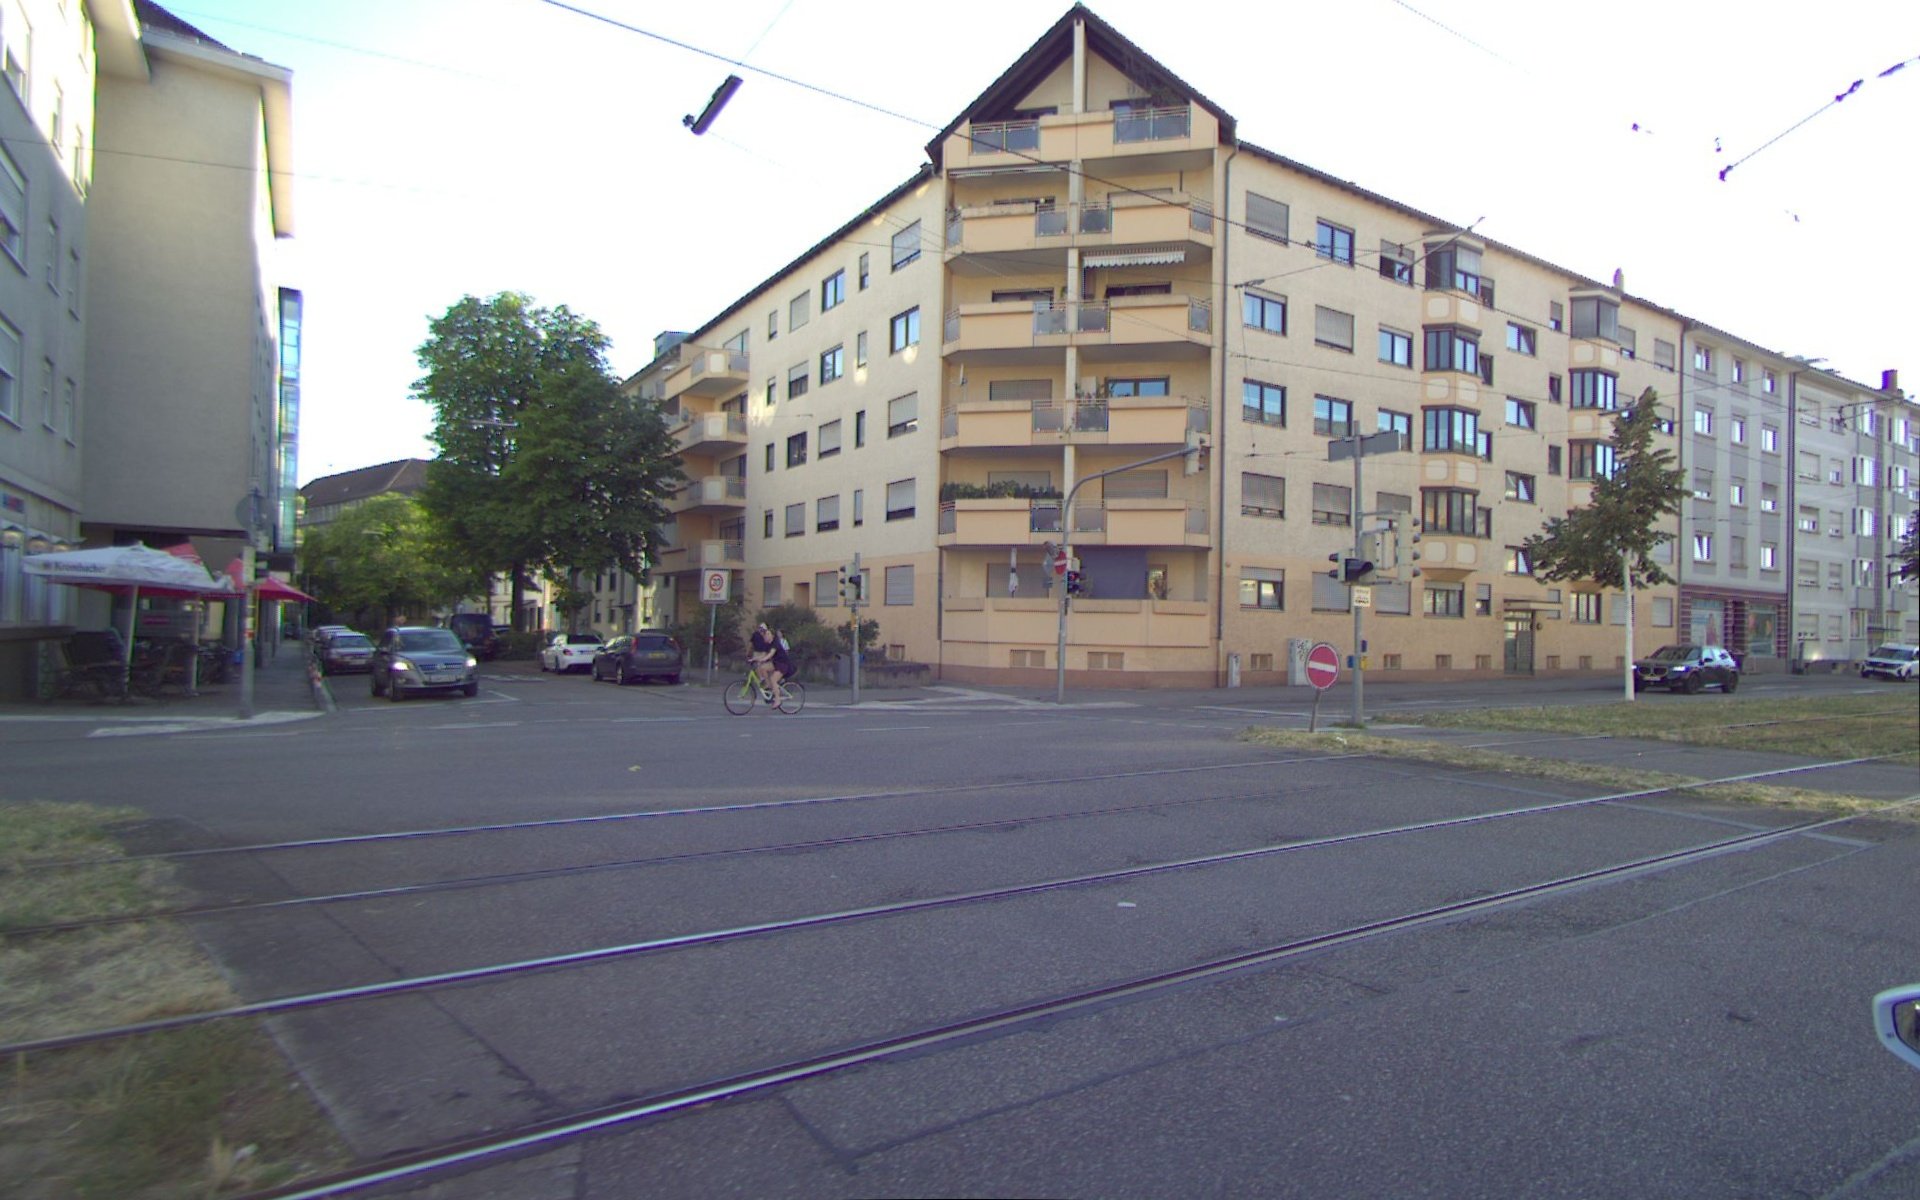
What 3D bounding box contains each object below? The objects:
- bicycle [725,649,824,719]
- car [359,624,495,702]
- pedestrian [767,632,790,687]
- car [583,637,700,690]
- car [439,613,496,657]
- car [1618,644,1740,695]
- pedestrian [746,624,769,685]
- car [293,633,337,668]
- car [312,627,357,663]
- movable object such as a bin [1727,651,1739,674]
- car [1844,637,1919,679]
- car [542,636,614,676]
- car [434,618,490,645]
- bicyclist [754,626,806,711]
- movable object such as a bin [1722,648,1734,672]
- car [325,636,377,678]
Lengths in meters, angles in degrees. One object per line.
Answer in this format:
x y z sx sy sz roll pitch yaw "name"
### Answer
-3.579 1.601 19.467 1.850 1.274 0.452 1 -1 -32 "bicycle"
-12.752 1.440 23.908 1.984 1.645 4.148 2 -2 -40 "car"
-5.315 1.726 29.353 0.509 1.573 0.547 1 0 -27 "pedestrian"
-9.626 1.842 30.223 1.984 1.461 3.953 1 -2 -41 "car"
-24.623 1.738 50.151 1.979 2.040 3.963 3 -2 -33 "car"
25.230 2.408 35.223 4.696 1.655 1.887 3 -2 -33 "car"
-5.901 1.590 29.319 0.457 1.727 0.588 3 -1 -27 "pedestrian"
-27.525 2.136 42.831 1.418 1.293 3.322 3 -1 -35 "car"
-30.535 2.173 48.982 1.619 1.594 3.503 3 -1 -35 "car"
36.044 2.922 46.837 0.437 1.050 0.296 3 -1 -34 "movable object such as a bin"
47.566 2.985 51.501 4.488 1.950 1.985 3 -1 -29 "car"
-13.884 2.002 36.423 1.754 1.280 3.278 3 -2 -33 "car"
-35.817 2.257 72.210 3.446 1.819 1.689 3 -1 -30 "car"
-3.513 1.310 19.552 0.800 1.607 0.623 1 -1 -32 "bicyclist"
35.610 2.782 46.565 0.437 1.050 0.296 3 -1 -34 "movable object such as a bin"
-22.033 2.040 36.314 1.488 1.328 3.106 3 -1 -32 "car"
